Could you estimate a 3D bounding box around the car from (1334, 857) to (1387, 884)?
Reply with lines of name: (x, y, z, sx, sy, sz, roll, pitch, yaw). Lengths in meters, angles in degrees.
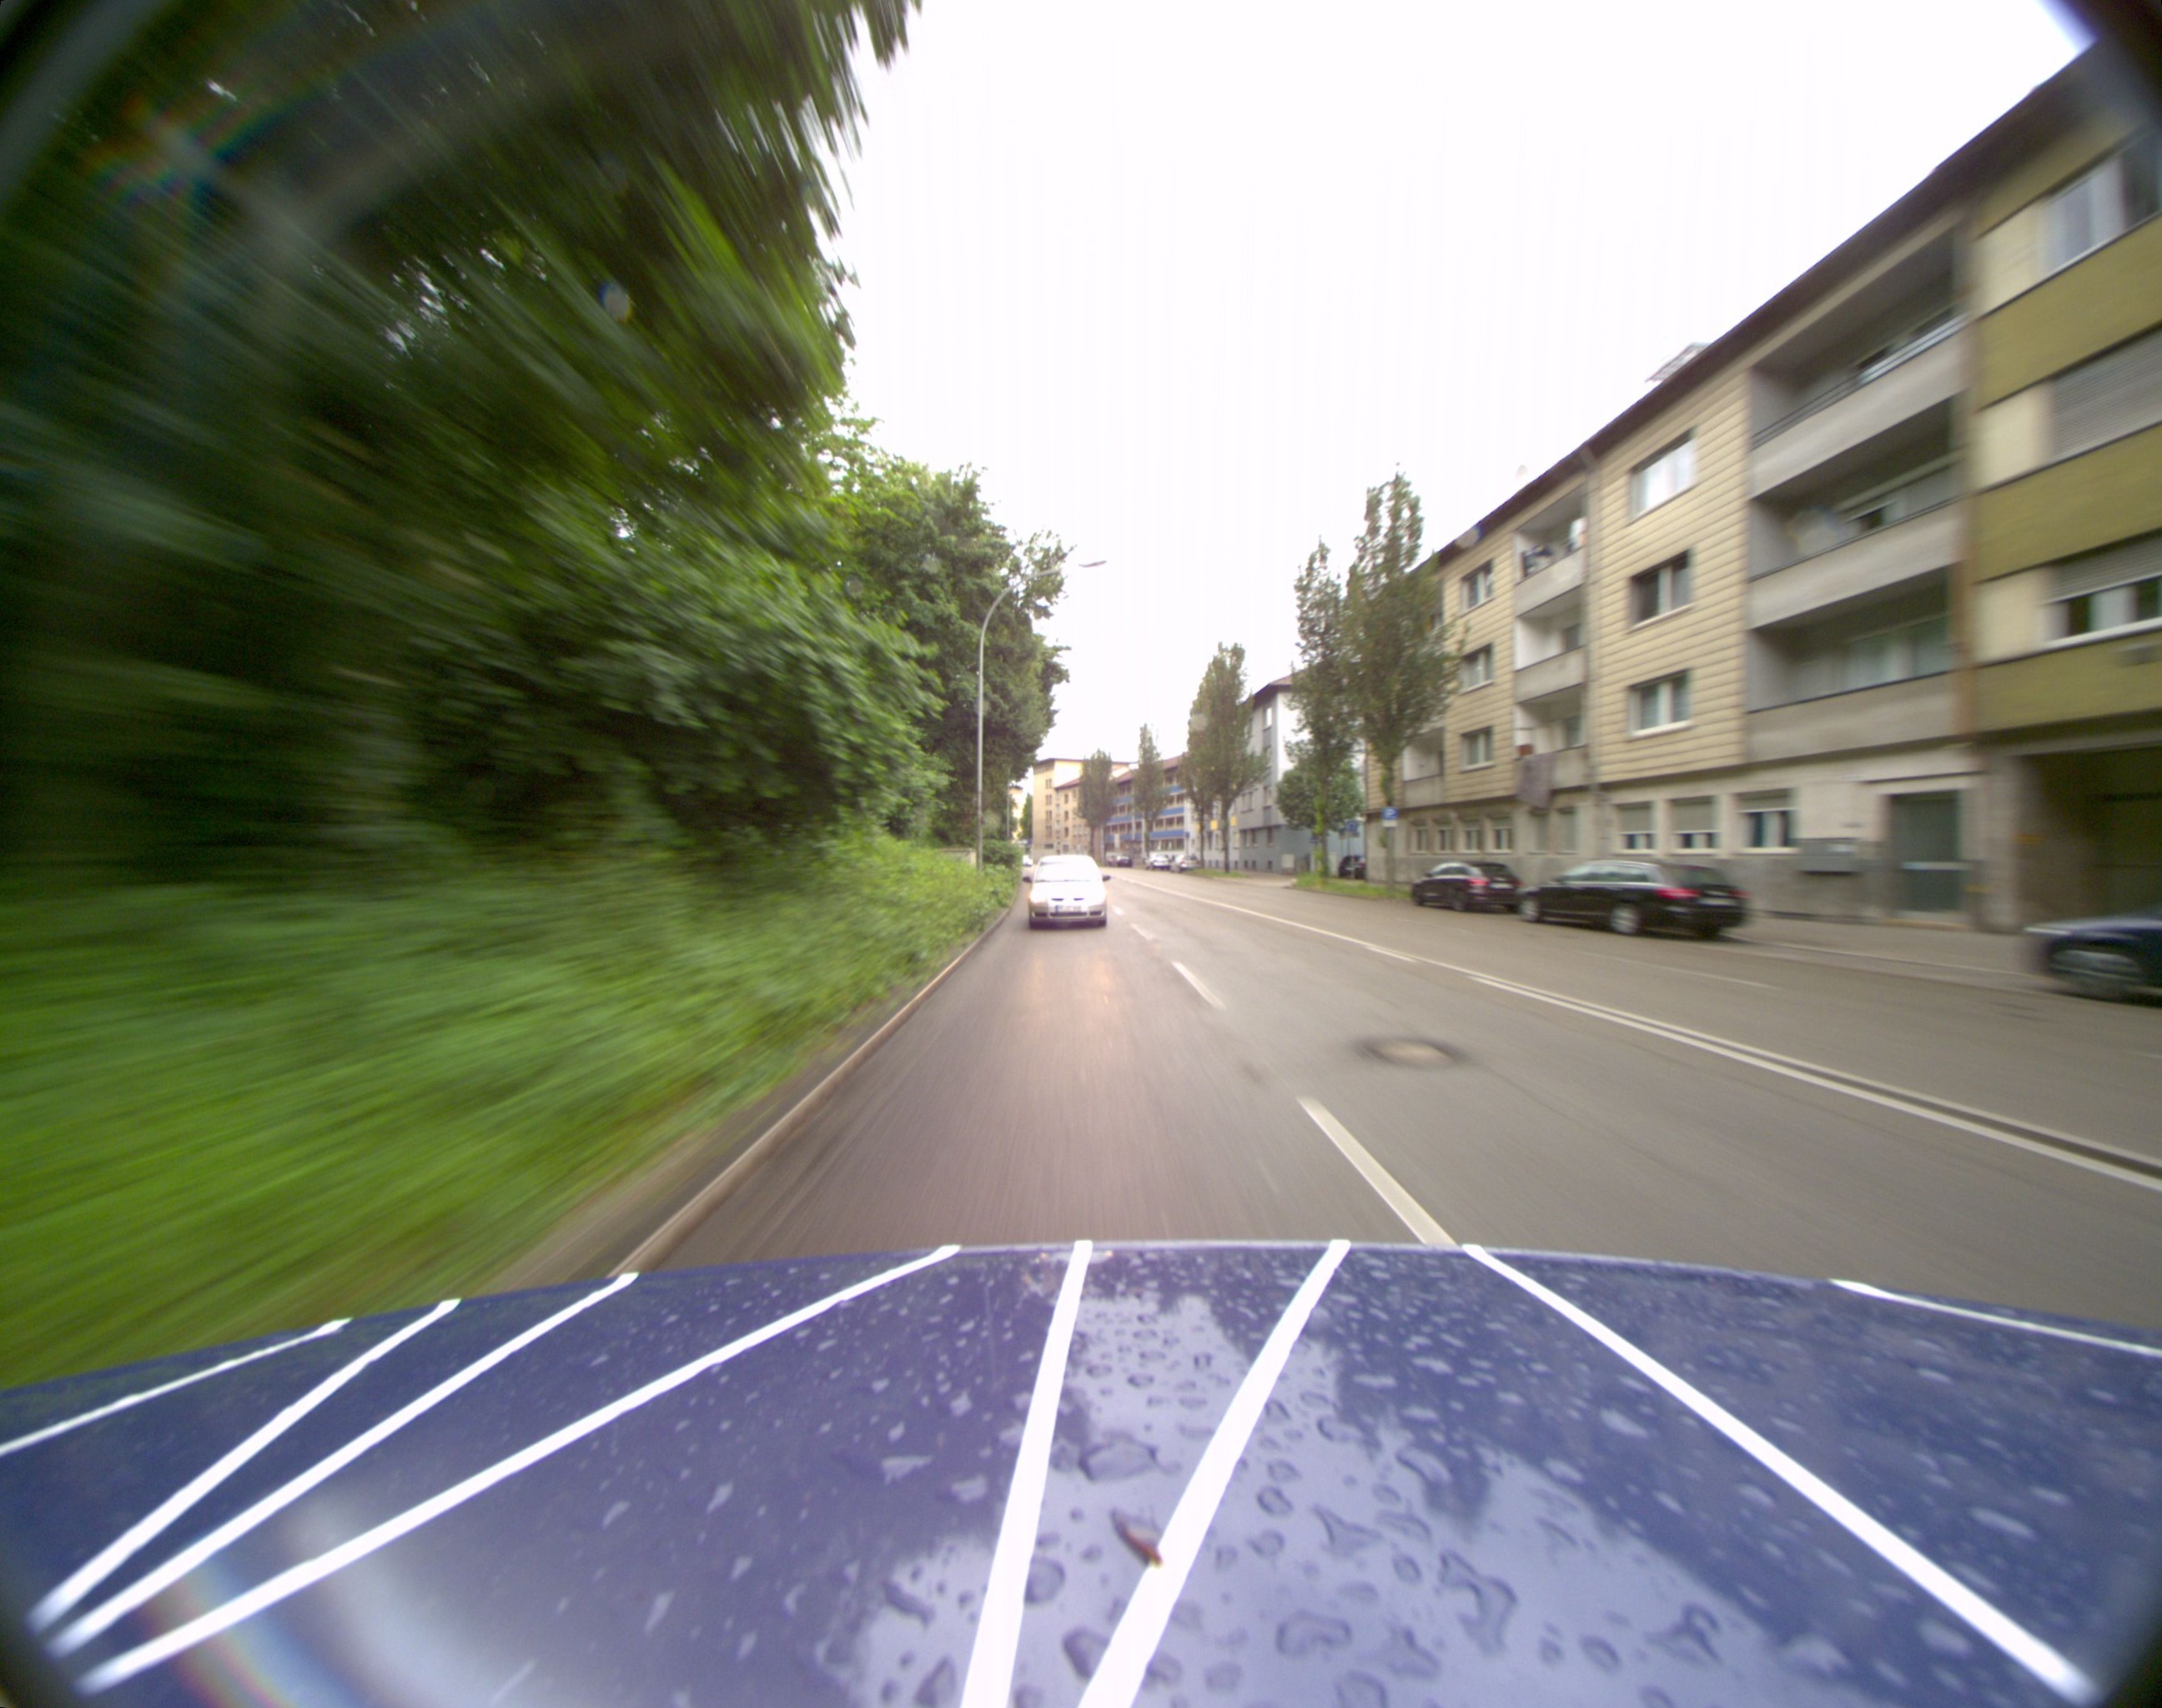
car: (17.004, 0.969, 46.127, 1.708, 1.486, 4.009, 3, 2, 40)

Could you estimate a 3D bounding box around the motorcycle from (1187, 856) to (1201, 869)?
motorcycle: (12.624, 0.897, 84.809, 0.677, 1.406, 2.233, -2, 1, -15)

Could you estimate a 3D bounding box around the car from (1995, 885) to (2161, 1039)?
car: (11.655, 1.127, 6.657, 1.723, 1.480, 4.514, 2, 0, -2)

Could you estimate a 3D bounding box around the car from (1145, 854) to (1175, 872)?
car: (7.506, 0.830, 72.547, 1.769, 1.594, 4.530, 1, 0, -7)

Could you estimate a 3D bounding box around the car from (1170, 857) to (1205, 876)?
car: (8.583, 1.020, 61.612, 1.729, 1.444, 4.202, 1, 0, -7)

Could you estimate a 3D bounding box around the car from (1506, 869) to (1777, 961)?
car: (11.188, 1.126, 15.719, 1.822, 1.480, 4.788, 2, 0, -4)

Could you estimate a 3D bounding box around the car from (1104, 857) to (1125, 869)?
car: (4.262, 1.094, 96.540, 1.786, 1.394, 4.085, 2, 0, -9)

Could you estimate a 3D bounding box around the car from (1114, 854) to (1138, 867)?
car: (5.305, 0.766, 90.817, 1.827, 1.431, 4.888, 2, 0, -8)

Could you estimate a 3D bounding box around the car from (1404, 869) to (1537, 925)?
car: (10.980, 1.161, 21.765, 1.630, 1.379, 3.987, 1, 0, -2)

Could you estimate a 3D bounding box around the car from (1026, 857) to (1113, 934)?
car: (-0.306, 0.863, 17.578, 1.752, 1.510, 3.999, -2, 0, -2)
